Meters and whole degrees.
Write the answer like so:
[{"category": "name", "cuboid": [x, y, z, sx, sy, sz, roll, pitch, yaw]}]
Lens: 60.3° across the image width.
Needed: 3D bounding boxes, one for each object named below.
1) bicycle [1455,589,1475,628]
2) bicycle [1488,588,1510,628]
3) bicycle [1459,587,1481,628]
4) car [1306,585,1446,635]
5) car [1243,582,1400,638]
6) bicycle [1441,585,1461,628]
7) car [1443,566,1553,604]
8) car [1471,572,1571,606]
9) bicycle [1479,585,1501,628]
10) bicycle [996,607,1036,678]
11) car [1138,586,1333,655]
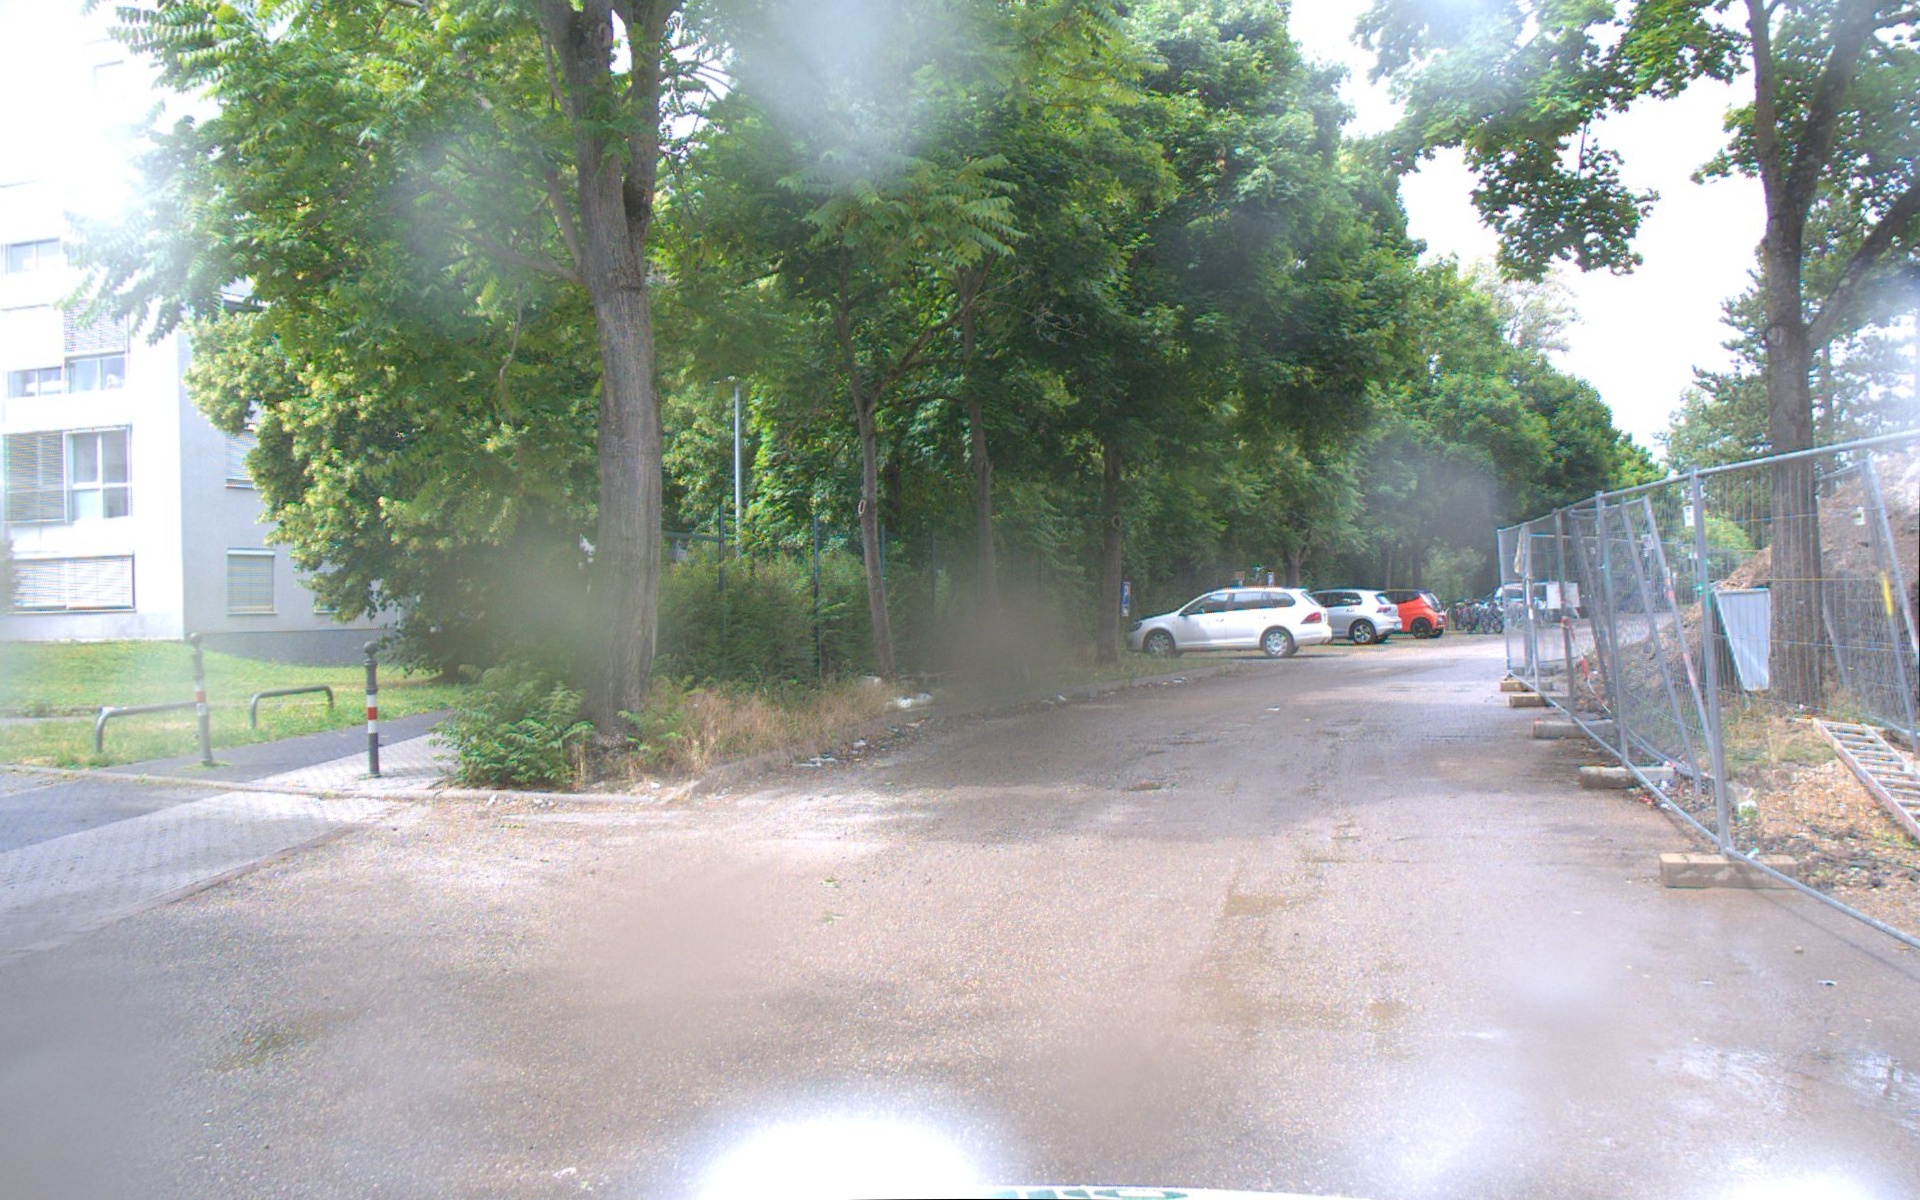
[{"category": "bicycle", "cuboid": [17.404, 0.303, 56.982, 0.583, 1.331, 2.671, 0, -1, 16]}, {"category": "bicycle", "cuboid": [18.469, 0.300, 56.673, 0.583, 1.331, 2.671, 0, -1, 16]}, {"category": "bicycle", "cuboid": [16.318, 0.247, 52.920, 0.583, 1.289, 2.671, 0, -1, 16]}, {"category": "car", "cuboid": [12.431, 0.318, 49.370, 3.949, 1.434, 1.983, 0, -1, 17]}, {"category": "car", "cuboid": [9.674, 0.285, 44.228, 3.949, 1.434, 1.983, 0, -1, 17]}, {"category": "bicycle", "cuboid": [15.744, 0.234, 53.077, 0.583, 1.331, 2.671, 0, -1, 16]}, {"category": "car", "cuboid": [21.600, -0.597, 66.400, 3.956, 1.434, 1.979, 0, -1, 28]}, {"category": "car", "cuboid": [24.720, -0.468, 72.902, 3.956, 1.434, 1.979, 0, -1, 28]}, {"category": "bicycle", "cuboid": [16.898, 0.230, 52.773, 0.583, 1.331, 2.671, 0, -1, 16]}, {"category": "bicycle", "cuboid": [0.766, 0.562, 22.490, 0.457, 0.894, 1.571, 0, 1, 5]}, {"category": "car", "cuboid": [6.017, 0.453, 35.995, 3.949, 1.434, 1.983, 0, -1, 17]}]
